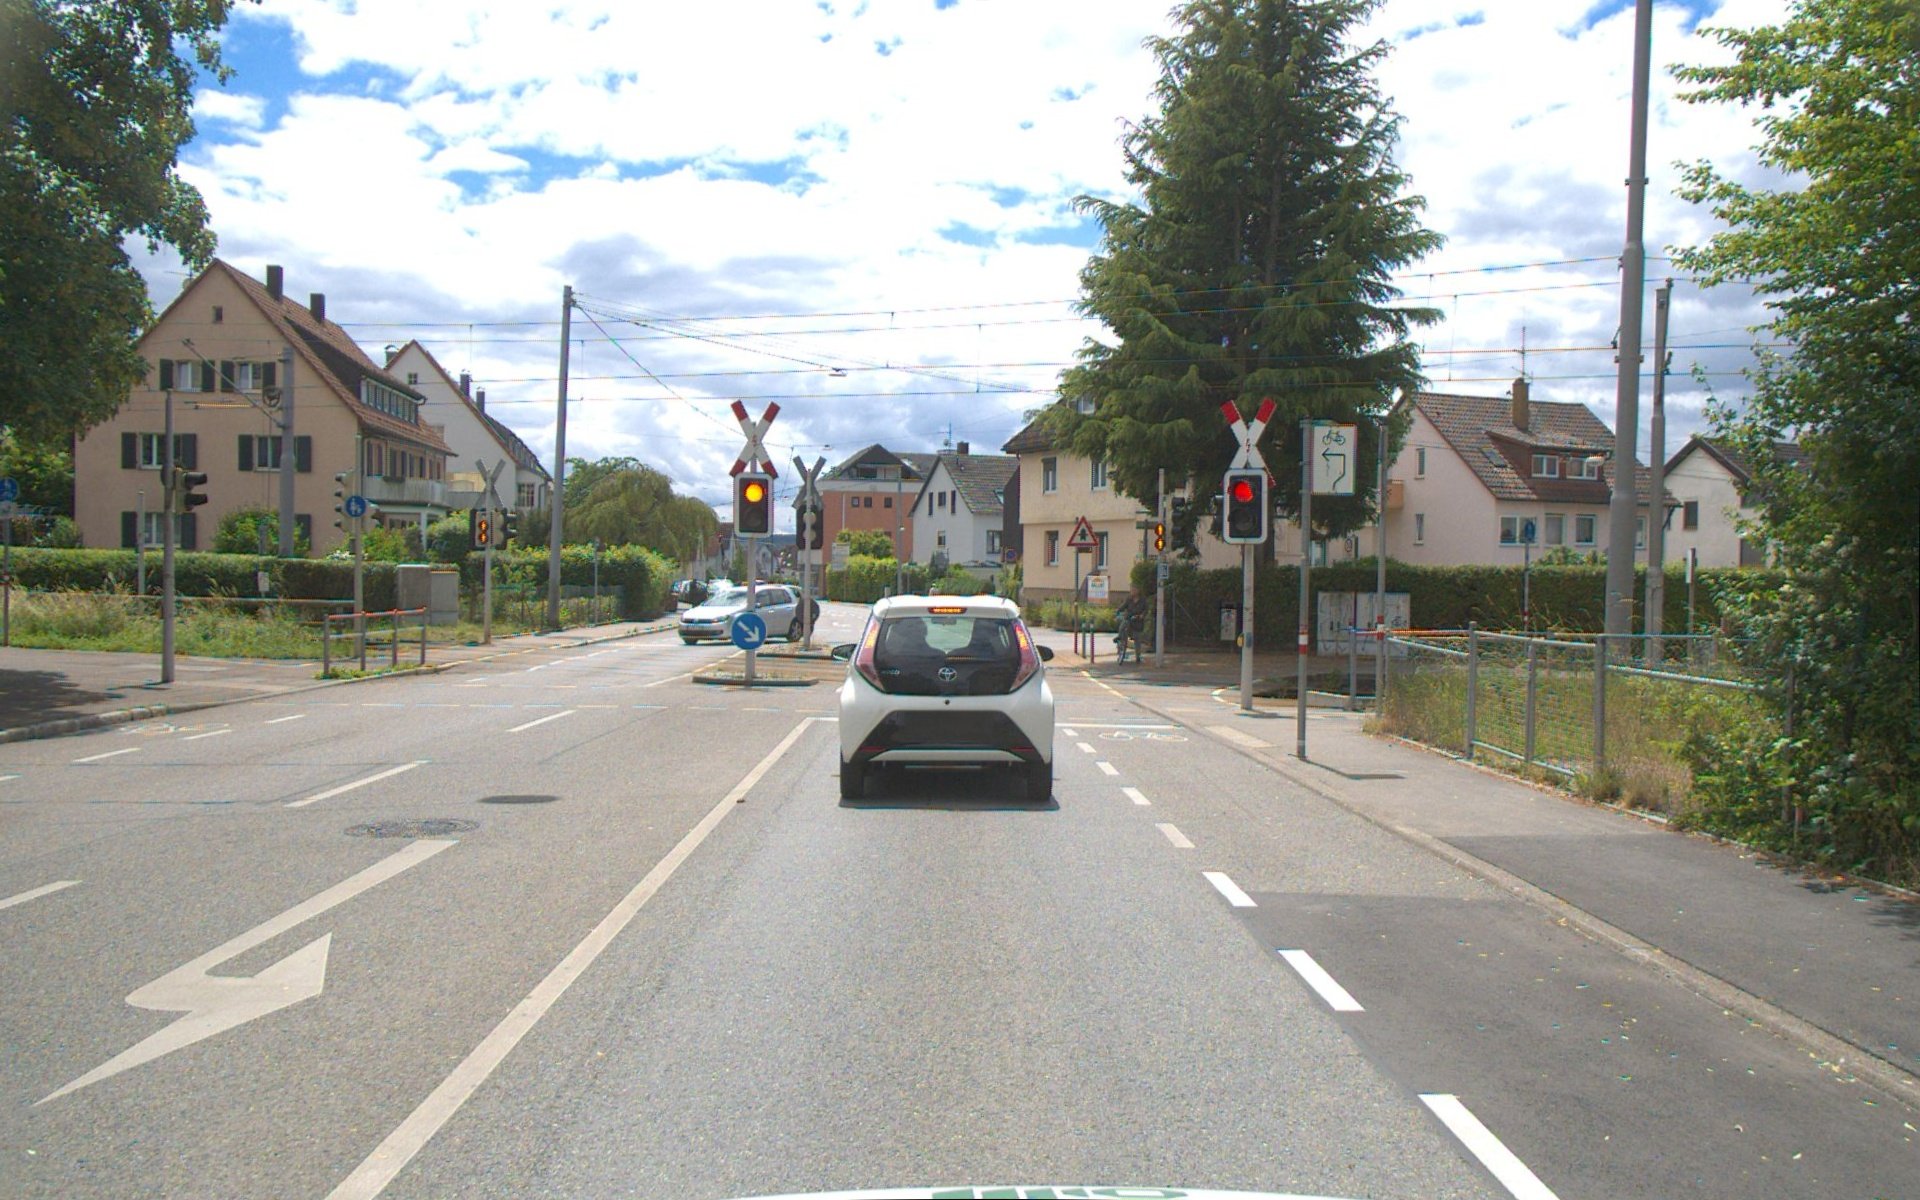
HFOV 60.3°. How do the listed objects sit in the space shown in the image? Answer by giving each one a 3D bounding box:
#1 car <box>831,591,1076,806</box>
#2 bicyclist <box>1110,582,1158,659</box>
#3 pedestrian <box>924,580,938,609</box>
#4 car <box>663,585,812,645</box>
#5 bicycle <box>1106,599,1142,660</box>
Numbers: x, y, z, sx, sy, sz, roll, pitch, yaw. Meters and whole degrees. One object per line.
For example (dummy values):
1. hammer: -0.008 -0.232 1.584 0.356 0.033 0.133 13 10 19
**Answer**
1. car: -0.173 0.684 13.425 1.687 1.467 3.705 1 0 -4
2. bicyclist: 3.731 0.429 35.507 0.825 1.580 0.755 -2 3 -7
3. pedestrian: -1.669 -0.320 95.216 0.711 1.604 0.803 1 0 -1
4. car: -5.790 0.384 43.521 1.868 1.466 4.094 2 0 27
5. bicycle: 3.515 0.628 35.521 0.449 1.192 1.477 -2 3 -6
